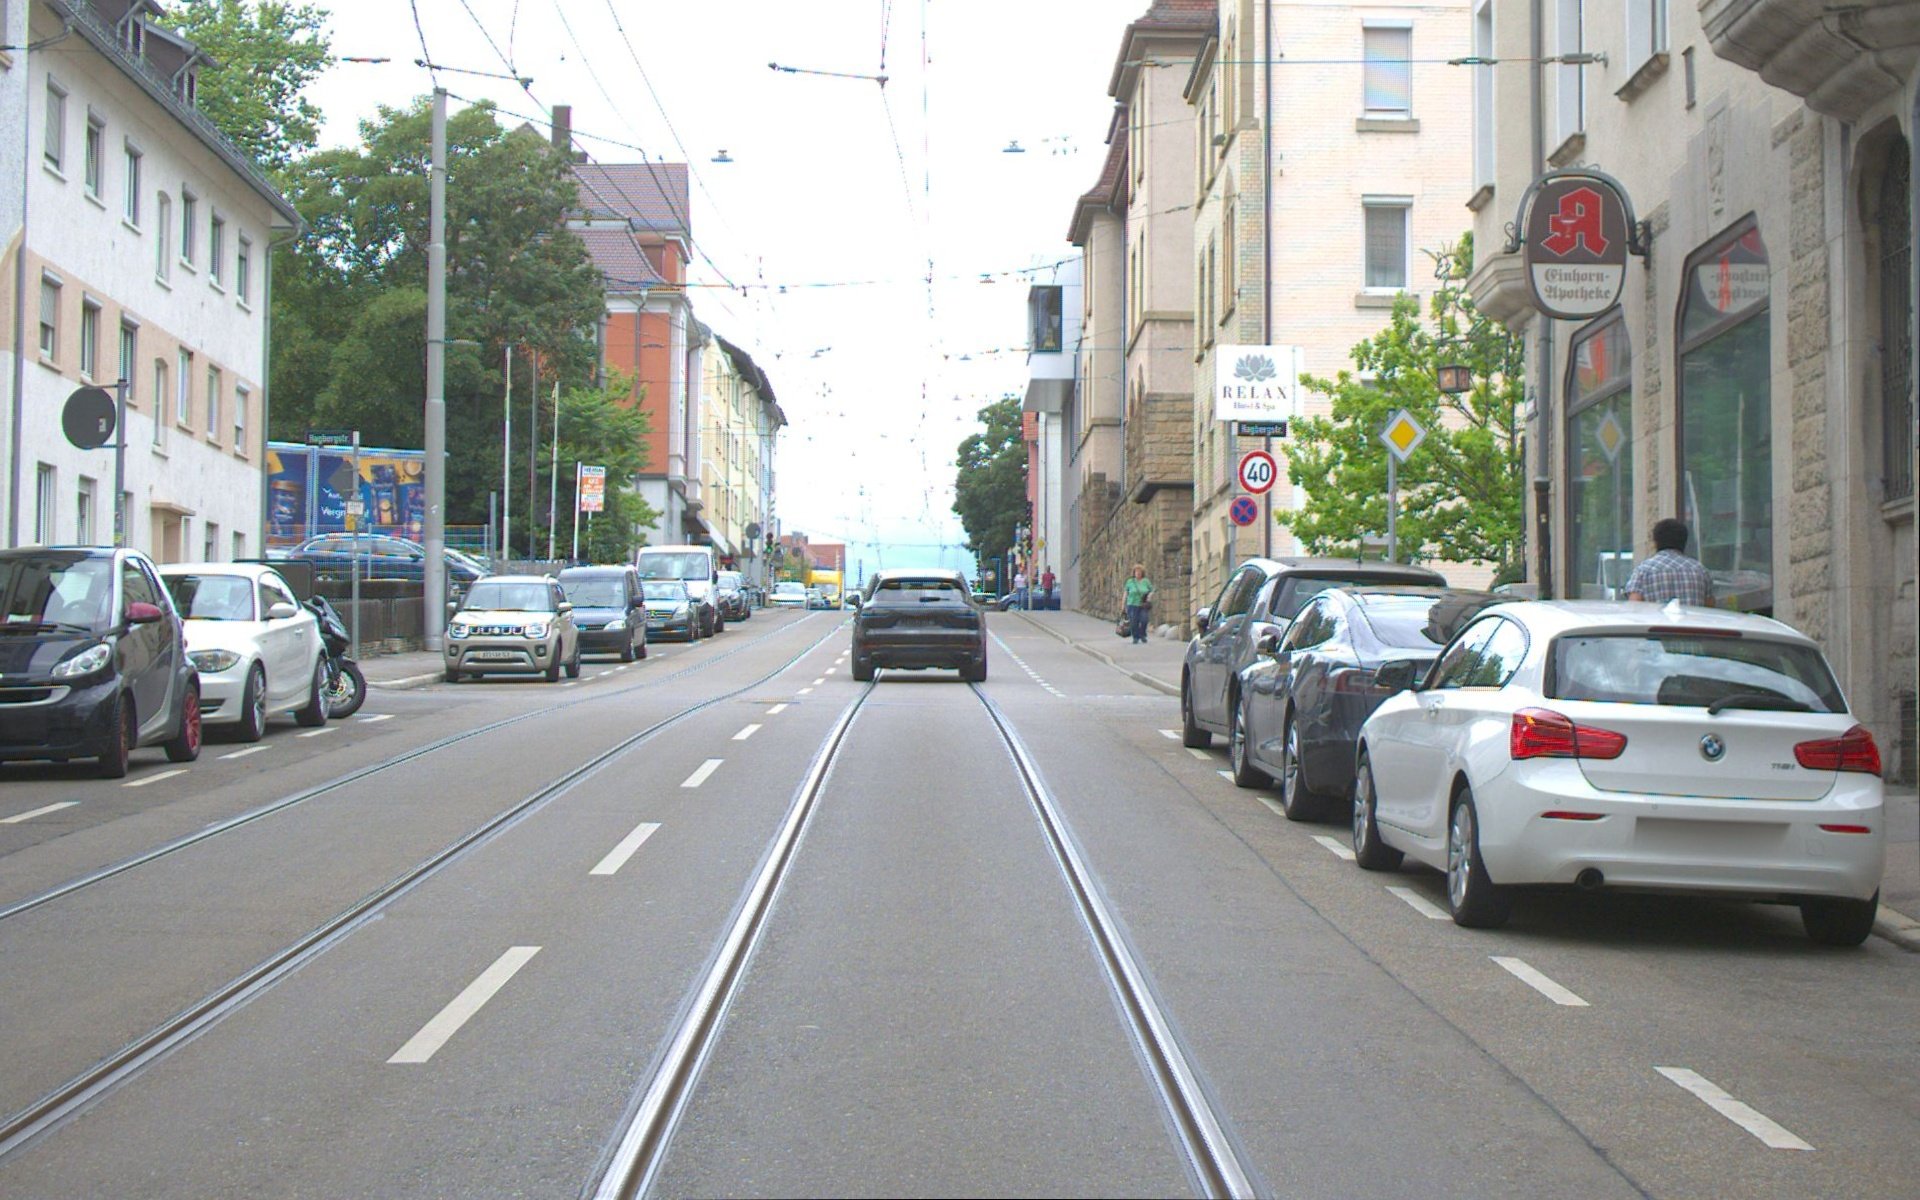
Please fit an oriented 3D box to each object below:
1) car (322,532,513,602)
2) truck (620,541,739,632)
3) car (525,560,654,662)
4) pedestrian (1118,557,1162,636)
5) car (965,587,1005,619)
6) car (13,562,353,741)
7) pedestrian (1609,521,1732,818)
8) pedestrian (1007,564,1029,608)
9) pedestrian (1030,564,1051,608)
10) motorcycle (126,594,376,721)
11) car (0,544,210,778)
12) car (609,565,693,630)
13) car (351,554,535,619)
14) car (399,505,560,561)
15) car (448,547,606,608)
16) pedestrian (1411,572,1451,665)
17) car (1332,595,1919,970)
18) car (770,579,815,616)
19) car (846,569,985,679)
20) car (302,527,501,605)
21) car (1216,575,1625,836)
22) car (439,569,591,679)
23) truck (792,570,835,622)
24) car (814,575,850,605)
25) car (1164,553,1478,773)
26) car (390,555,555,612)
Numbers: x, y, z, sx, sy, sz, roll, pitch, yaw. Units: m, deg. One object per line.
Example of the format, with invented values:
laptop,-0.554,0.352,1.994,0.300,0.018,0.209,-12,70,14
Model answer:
car,-12.282,-0.746,77.996,4.060,1.518,1.739,1,1,-1
truck,-7.057,-0.363,87.449,2.280,2.180,8.025,1,1,0
car,-6.658,0.165,62.141,1.744,1.730,4.519,-1,1,1
pedestrian,3.894,-0.073,74.476,0.870,1.680,0.663,-1,0,-2
car,1.260,0.152,173.609,1.993,1.558,4.290,1,1,0
car,-6.311,0.371,28.387,1.780,1.353,4.291,0,1,1
pedestrian,4.381,0.420,21.226,0.599,1.797,0.632,1,0,-1
pedestrian,2.217,-0.522,131.291,0.791,1.661,0.798,1,0,2
pedestrian,3.078,-0.523,131.266,0.791,1.661,0.798,1,0,2
motorcycle,-6.503,0.526,31.559,2.110,1.130,0.766,-1,1,13
car,-6.277,0.387,23.289,1.697,1.463,3.023,-2,1,0
car,-7.179,-0.079,80.203,1.697,1.428,4.482,-1,1,-2
car,-12.077,-0.320,80.434,4.060,1.440,1.688,1,1,-1
car,-12.265,-1.714,87.948,3.876,1.352,1.688,1,1,-1
car,-11.525,-0.606,91.365,3.958,1.546,1.689,1,1,-15
pedestrian,8.122,0.310,59.300,0.558,1.577,0.686,1,0,0
car,2.921,0.726,15.895,1.750,1.386,4.308,3,1,-2
car,-7.563,-0.131,155.550,1.855,1.601,4.297,1,1,-1
car,-0.649,0.330,52.171,1.993,1.558,4.290,1,1,0
car,-12.280,-0.754,75.712,4.060,1.547,1.688,2,0,-1
car,2.794,0.584,21.886,1.779,1.386,4.692,3,1,-2
car,-6.577,0.323,51.133,1.697,1.551,3.850,1,1,1
truck,-8.856,-0.259,208.364,2.302,3.026,9.034,1,0,-1
car,-7.016,-0.575,188.164,1.855,1.601,4.297,1,1,-1
car,2.771,0.435,27.340,1.735,1.532,4.575,3,1,-3
car,-12.088,-0.420,85.392,3.876,1.352,1.688,1,1,-1
